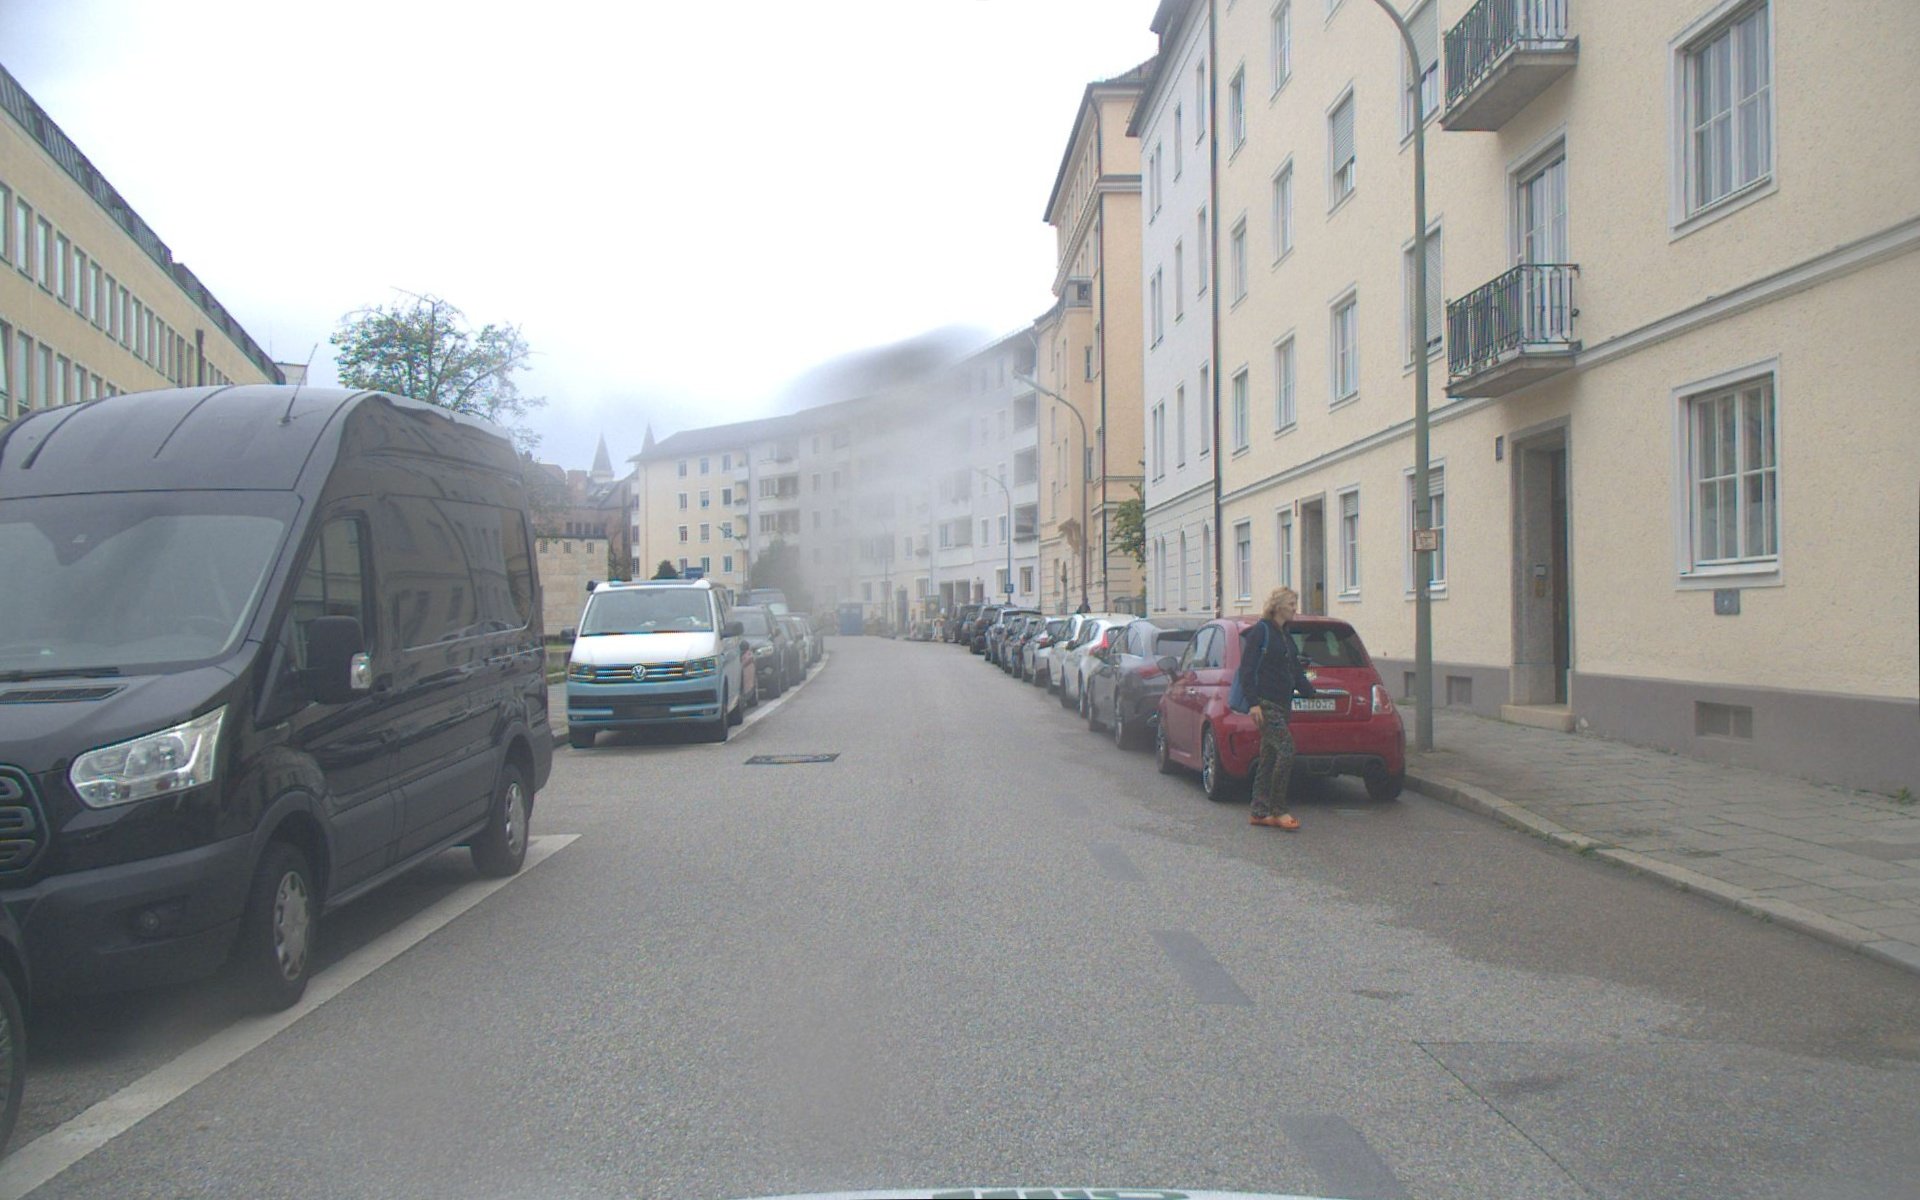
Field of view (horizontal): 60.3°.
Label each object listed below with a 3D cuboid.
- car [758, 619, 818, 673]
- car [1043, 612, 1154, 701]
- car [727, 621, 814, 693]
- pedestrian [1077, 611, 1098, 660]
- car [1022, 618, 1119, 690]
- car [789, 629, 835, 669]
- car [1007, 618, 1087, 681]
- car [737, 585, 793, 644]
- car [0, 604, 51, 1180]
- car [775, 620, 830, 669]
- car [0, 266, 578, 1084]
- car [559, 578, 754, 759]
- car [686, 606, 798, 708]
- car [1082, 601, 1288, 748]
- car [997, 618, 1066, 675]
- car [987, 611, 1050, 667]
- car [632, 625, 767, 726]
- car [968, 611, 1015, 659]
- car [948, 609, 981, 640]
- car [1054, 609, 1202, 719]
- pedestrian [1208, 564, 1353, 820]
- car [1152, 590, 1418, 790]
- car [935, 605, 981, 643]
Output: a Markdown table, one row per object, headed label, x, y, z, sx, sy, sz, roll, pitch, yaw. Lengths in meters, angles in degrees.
| label | x | y | z | sx | sy | sz | roll | pitch | yaw |
| --- | --- | --- | --- | --- | --- | --- | --- | --- | --- |
| car | -4.932 | 1.309 | 47.775 | 1.592 | 1.444 | 3.977 | -2 | -1 | -5 |
| car | 2.494 | 1.001 | 30.526 | 1.567 | 1.518 | 3.797 | -1 | -1 | -2 |
| car | -4.176 | 1.247 | 36.925 | 1.591 | 1.437 | 3.796 | -3 | -1 | -2 |
| pedestrian | 4.527 | 1.266 | 58.640 | 0.653 | 1.722 | 0.689 | 1 | -2 | -2 |
| car | 2.328 | 1.154 | 35.598 | 1.658 | 1.458 | 3.942 | 0 | -2 | -2 |
| car | -5.581 | 1.845 | 62.682 | 1.591 | 1.444 | 3.645 | -2 | -1 | -4 |
| car | 2.076 | 1.188 | 40.559 | 1.559 | 1.458 | 4.418 | 0 | -1 | -2 |
| car | -9.334 | 0.730 | 78.916 | 1.744 | 2.701 | 3.977 | 2 | -2 | -20 |
| car | -3.213 | 0.764 | 2.954 | 1.556 | 1.565 | 3.536 | -4 | -2 | -8 |
| car | -5.017 | 1.418 | 52.963 | 1.591 | 1.444 | 3.978 | -2 | -1 | -4 |
| car | -3.555 | 0.288 | 8.134 | 2.045 | 2.682 | 5.376 | -1 | -1 | 0 |
| car | -3.750 | 0.817 | 21.182 | 1.845 | 1.965 | 4.597 | -3 | -1 | -4 |
| car | -4.064 | 1.046 | 31.401 | 1.668 | 1.721 | 4.025 | -3 | -1 | -2 |
| car | 2.550 | 0.854 | 19.707 | 1.658 | 1.518 | 4.340 | -1 | -2 | -3 |
| car | 1.923 | 1.245 | 45.158 | 1.559 | 1.458 | 3.823 | 0 | -1 | -2 |
| car | 1.722 | 1.155 | 50.111 | 1.559 | 1.610 | 4.296 | 0 | -1 | -3 |
| car | -4.000 | 1.127 | 25.904 | 1.619 | 1.397 | 3.650 | -3 | -1 | -2 |
| car | 1.105 | 1.247 | 60.039 | 1.444 | 1.670 | 3.998 | 0 | -1 | -3 |
| car | 0.181 | 1.078 | 71.684 | 1.246 | 1.322 | 2.795 | 0 | -1 | -3 |
| car | 2.519 | 0.949 | 25.719 | 1.658 | 1.518 | 4.280 | -1 | -1 | -3 |
| pedestrian | 2.290 | 0.655 | 11.851 | 0.784 | 1.758 | 0.667 | 2 | -3 | -25 |
| car | 2.764 | 0.747 | 14.859 | 1.563 | 1.535 | 3.799 | -1 | -1 | -1 |
| car | -0.121 | 1.115 | 76.753 | 1.573 | 1.745 | 3.081 | 1 | -1 | -11 |
